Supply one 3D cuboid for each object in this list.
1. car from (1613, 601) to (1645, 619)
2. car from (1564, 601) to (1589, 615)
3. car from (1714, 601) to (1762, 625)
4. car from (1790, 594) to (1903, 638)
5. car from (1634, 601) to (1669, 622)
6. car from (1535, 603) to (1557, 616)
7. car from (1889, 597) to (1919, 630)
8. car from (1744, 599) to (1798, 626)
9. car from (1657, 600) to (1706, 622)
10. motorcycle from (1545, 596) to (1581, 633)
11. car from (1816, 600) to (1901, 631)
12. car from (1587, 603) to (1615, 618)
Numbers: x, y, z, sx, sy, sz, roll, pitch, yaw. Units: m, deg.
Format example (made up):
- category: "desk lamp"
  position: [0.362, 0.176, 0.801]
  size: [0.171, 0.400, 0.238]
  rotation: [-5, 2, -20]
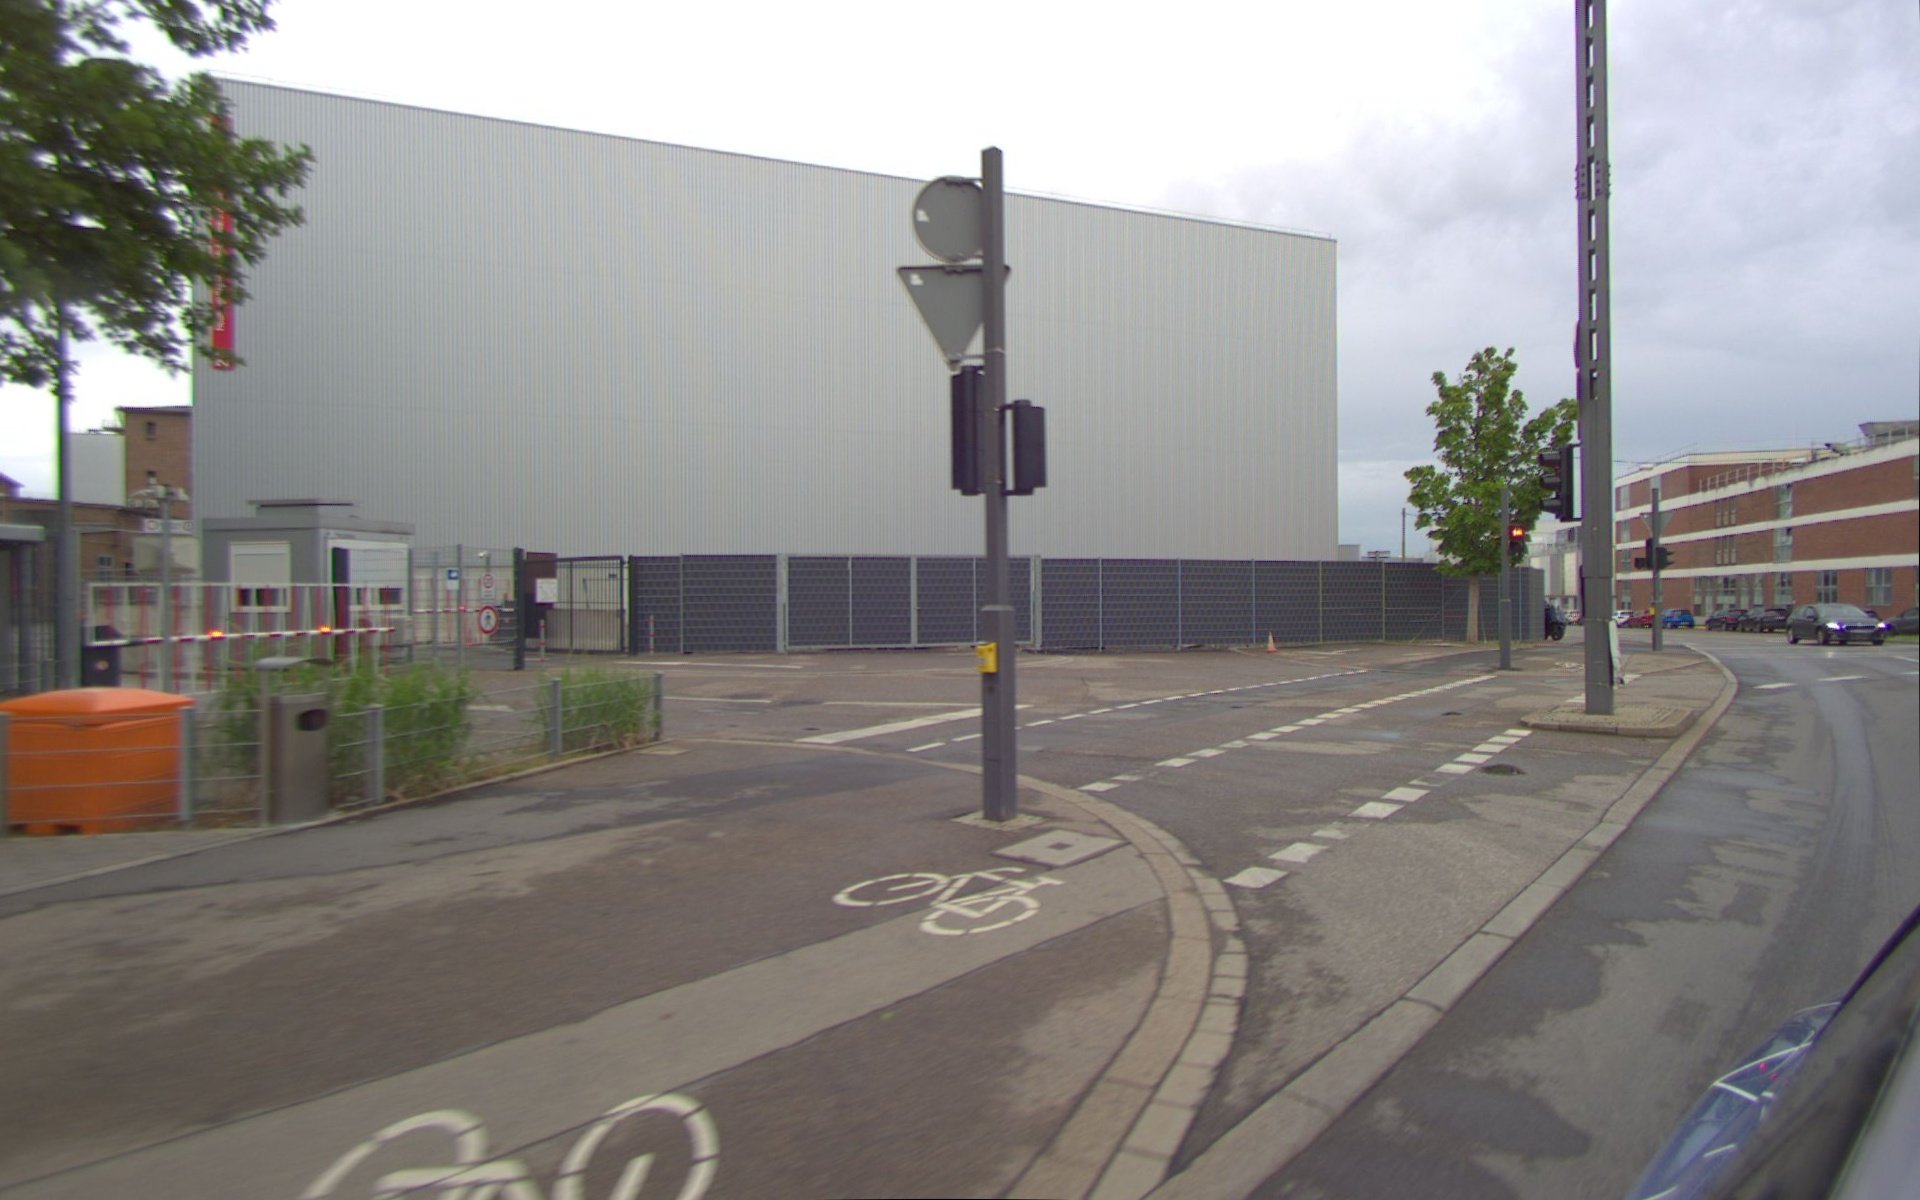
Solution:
- category: "car"
  position: [56.965, 0.849, 86.260]
  size: [1.441, 1.393, 3.366]
  rotation: [-3, -1, 20]
- category: "car"
  position: [61.495, 0.830, 101.004]
  size: [1.441, 1.257, 3.348]
  rotation: [-3, -1, 20]
- category: "car"
  position: [50.377, 0.826, 65.565]
  size: [1.441, 1.462, 3.366]
  rotation: [-3, -1, 20]
- category: "car"
  position: [31.142, 0.541, 35.684]
  size: [1.700, 1.444, 3.971]
  rotation: [-1, -1, 21]
- category: "car"
  position: [54.964, 0.899, 80.473]
  size: [1.441, 1.462, 3.366]
  rotation: [-3, -1, 20]
- category: "car"
  position: [64.464, 1.050, 111.319]
  size: [1.441, 1.257, 3.348]
  rotation: [-3, -1, 20]
- category: "car"
  position: [44.987, 0.648, 46.741]
  size: [1.524, 1.512, 2.752]
  rotation: [1, -1, -2]
- category: "car"
  position: [48.659, 0.755, 60.793]
  size: [1.441, 1.462, 3.442]
  rotation: [-3, -1, 20]
- category: "car"
  position: [53.670, 0.817, 75.333]
  size: [1.672, 1.462, 3.375]
  rotation: [-3, -1, 13]
- category: "motorcycle"
  position: [21.976, 0.531, 36.890]
  size: [0.647, 1.327, 2.088]
  rotation: [-1, -1, 18]
- category: "car"
  position: [46.179, 0.781, 52.101]
  size: [1.546, 1.462, 4.085]
  rotation: [-3, -1, 16]
- category: "car"
  position: [59.934, 0.961, 94.629]
  size: [1.441, 1.257, 3.348]
  rotation: [-3, -1, 20]
